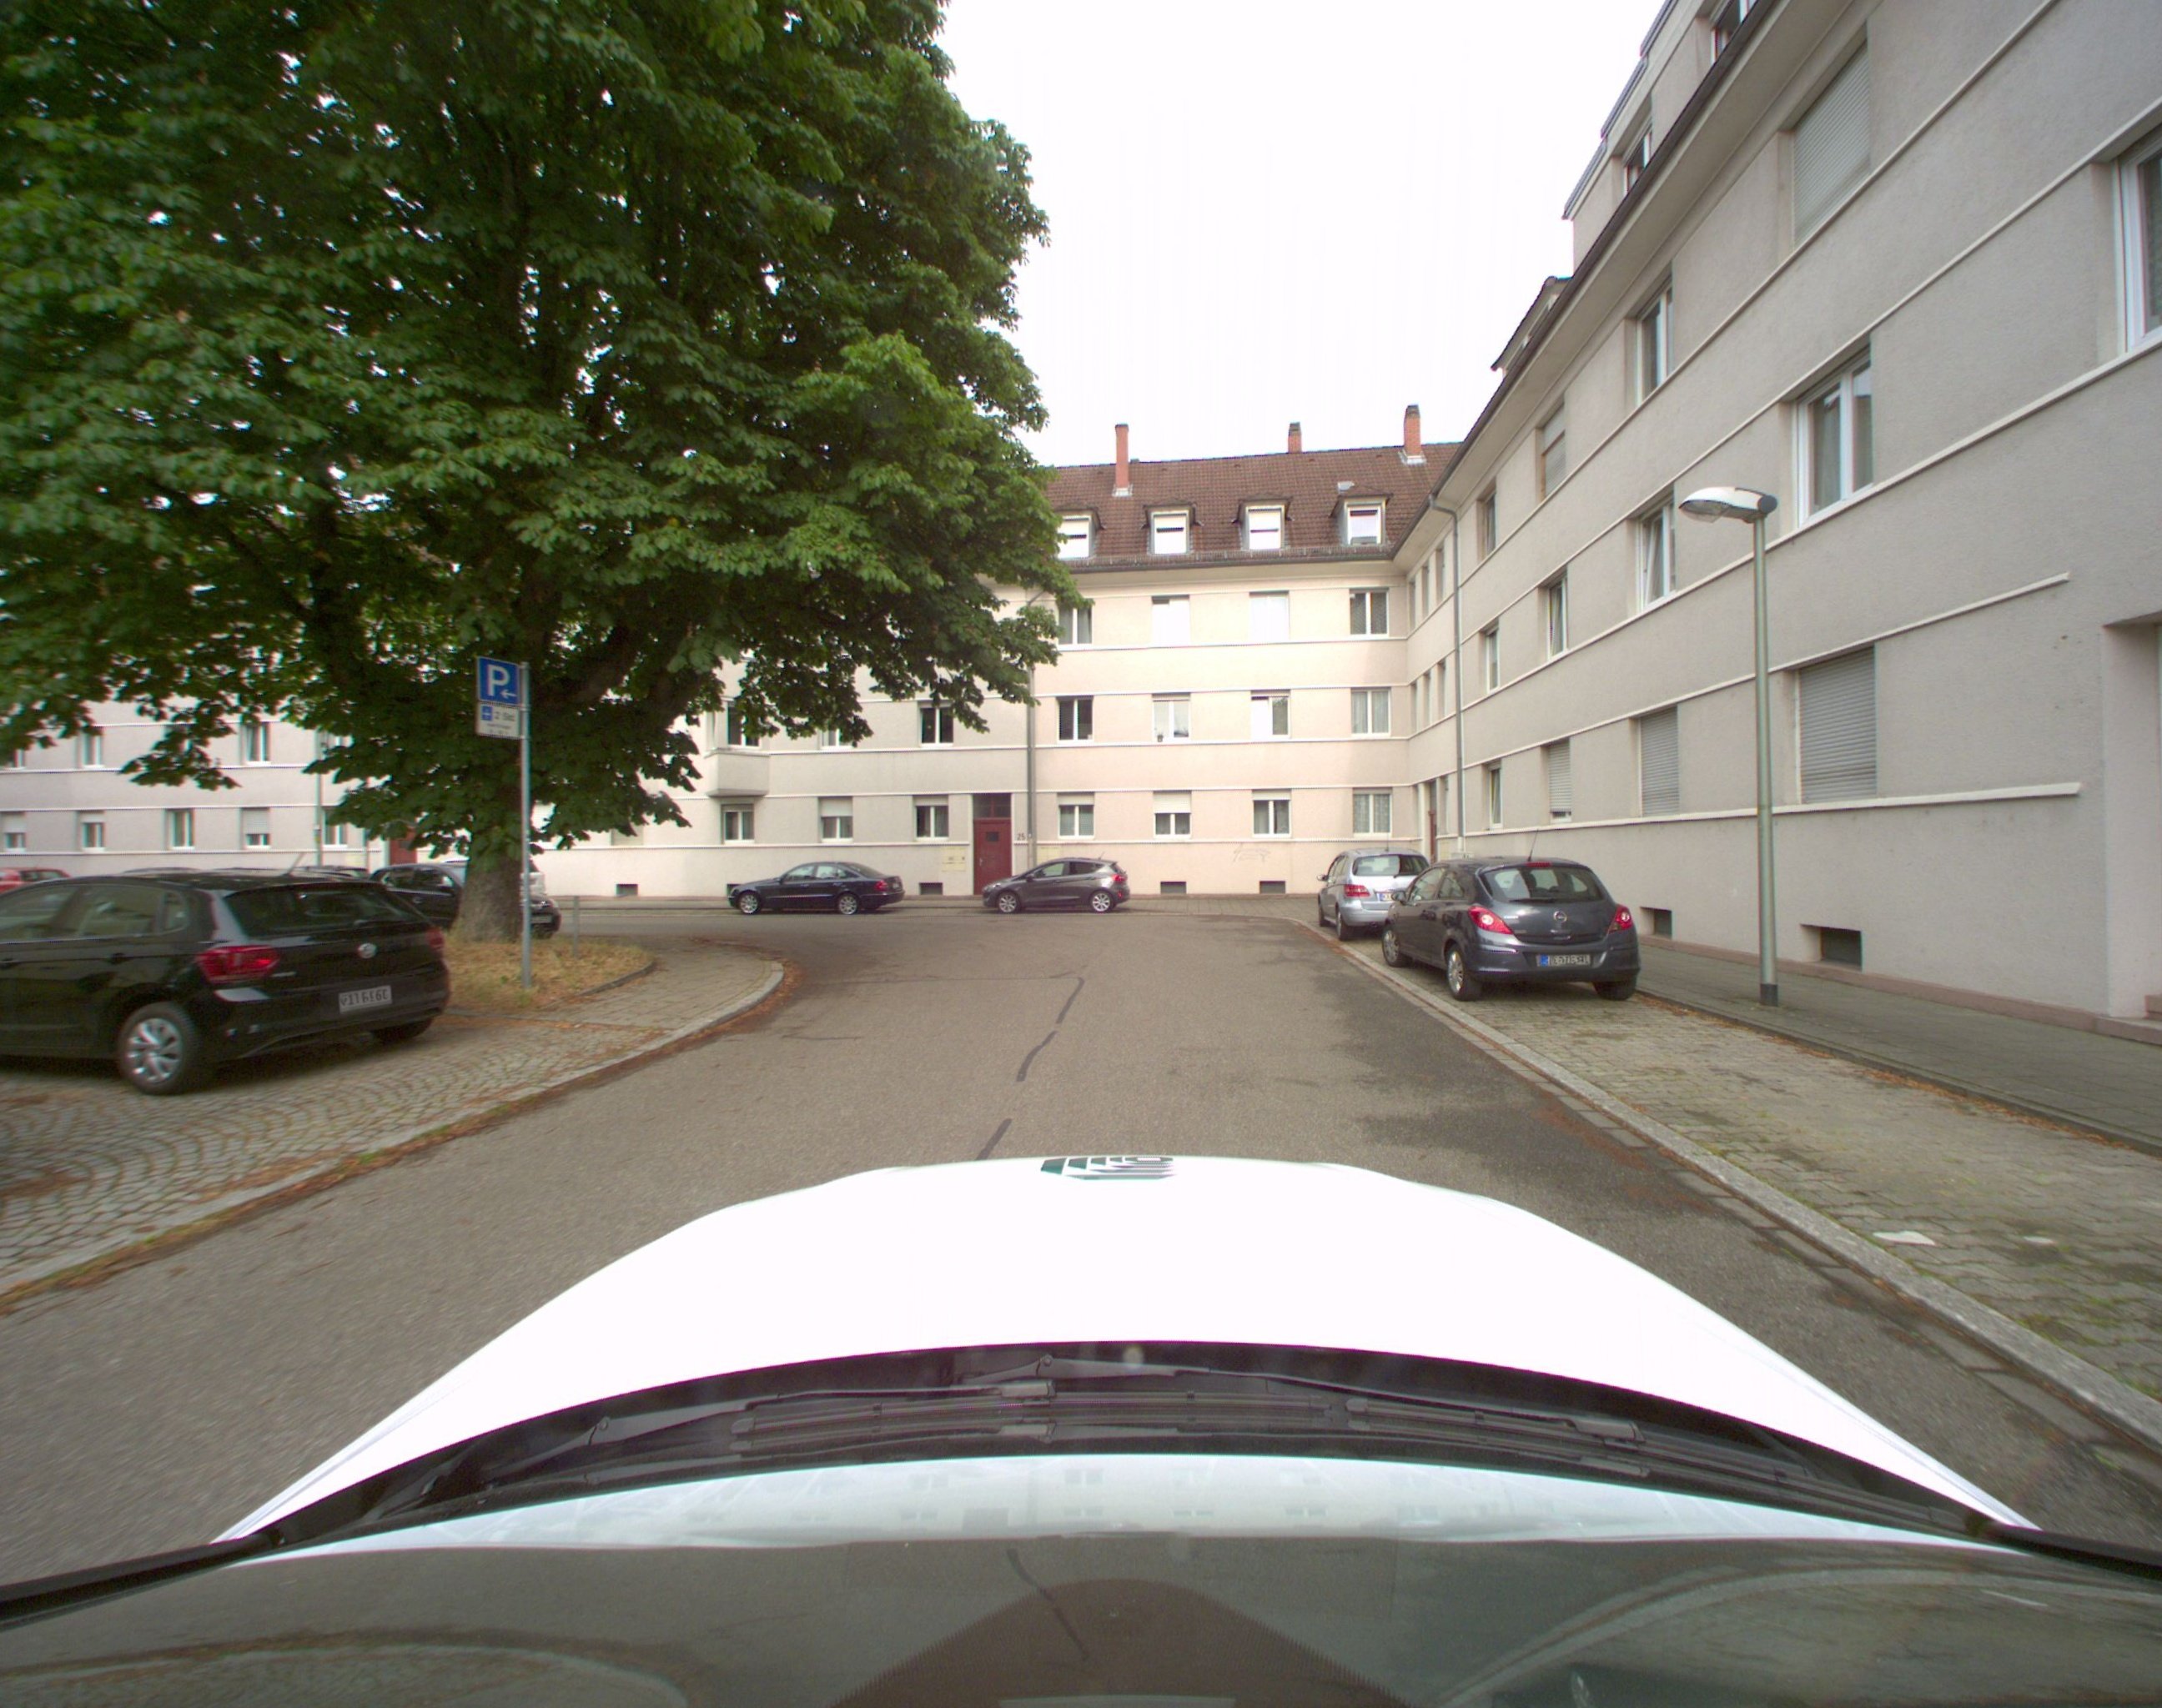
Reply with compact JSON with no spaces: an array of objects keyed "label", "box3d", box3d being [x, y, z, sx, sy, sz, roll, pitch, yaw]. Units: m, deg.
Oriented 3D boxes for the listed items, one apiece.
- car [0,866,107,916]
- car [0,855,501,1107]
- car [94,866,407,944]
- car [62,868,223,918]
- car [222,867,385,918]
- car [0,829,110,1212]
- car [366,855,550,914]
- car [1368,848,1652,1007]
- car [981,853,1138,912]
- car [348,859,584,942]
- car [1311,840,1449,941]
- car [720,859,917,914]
[{"label":"car","box3d":[-34.451,1.185,26.509,3.792,1.525,1.706,0,1,7]},{"label":"car","box3d":[-7.000,0.824,6.348,3.806,1.577,1.836,-1,0,9]},{"label":"car","box3d":[-16.730,1.018,16.521,4.791,1.465,1.877,-1,-3,8]},{"label":"car","box3d":[-29.369,1.201,25.530,3.662,1.473,1.576,-1,0,9]},{"label":"car","box3d":[-23.987,1.172,25.183,3.836,1.478,1.576,-1,0,8]},{"label":"car","box3d":[-6.884,0.720,3.360,4.029,1.697,1.922,0,0,11]},{"label":"car","box3d":[-18.745,0.906,24.616,4.254,1.673,1.851,0,1,5]},{"label":"car","box3d":[4.748,0.717,9.694,1.747,1.490,3.945,-1,-1,8]},{"label":"car","box3d":[-0.518,0.743,22.191,4.045,1.525,1.765,0,1,6]},{"label":"car","box3d":[-11.776,0.891,15.689,3.558,1.494,1.533,-1,-3,10]},{"label":"car","box3d":[5.484,0.623,15.441,1.746,1.628,4.212,-1,-1,10]},{"label":"car","box3d":[-7.270,0.874,22.788,4.909,1.420,1.754,0,1,6]}]
